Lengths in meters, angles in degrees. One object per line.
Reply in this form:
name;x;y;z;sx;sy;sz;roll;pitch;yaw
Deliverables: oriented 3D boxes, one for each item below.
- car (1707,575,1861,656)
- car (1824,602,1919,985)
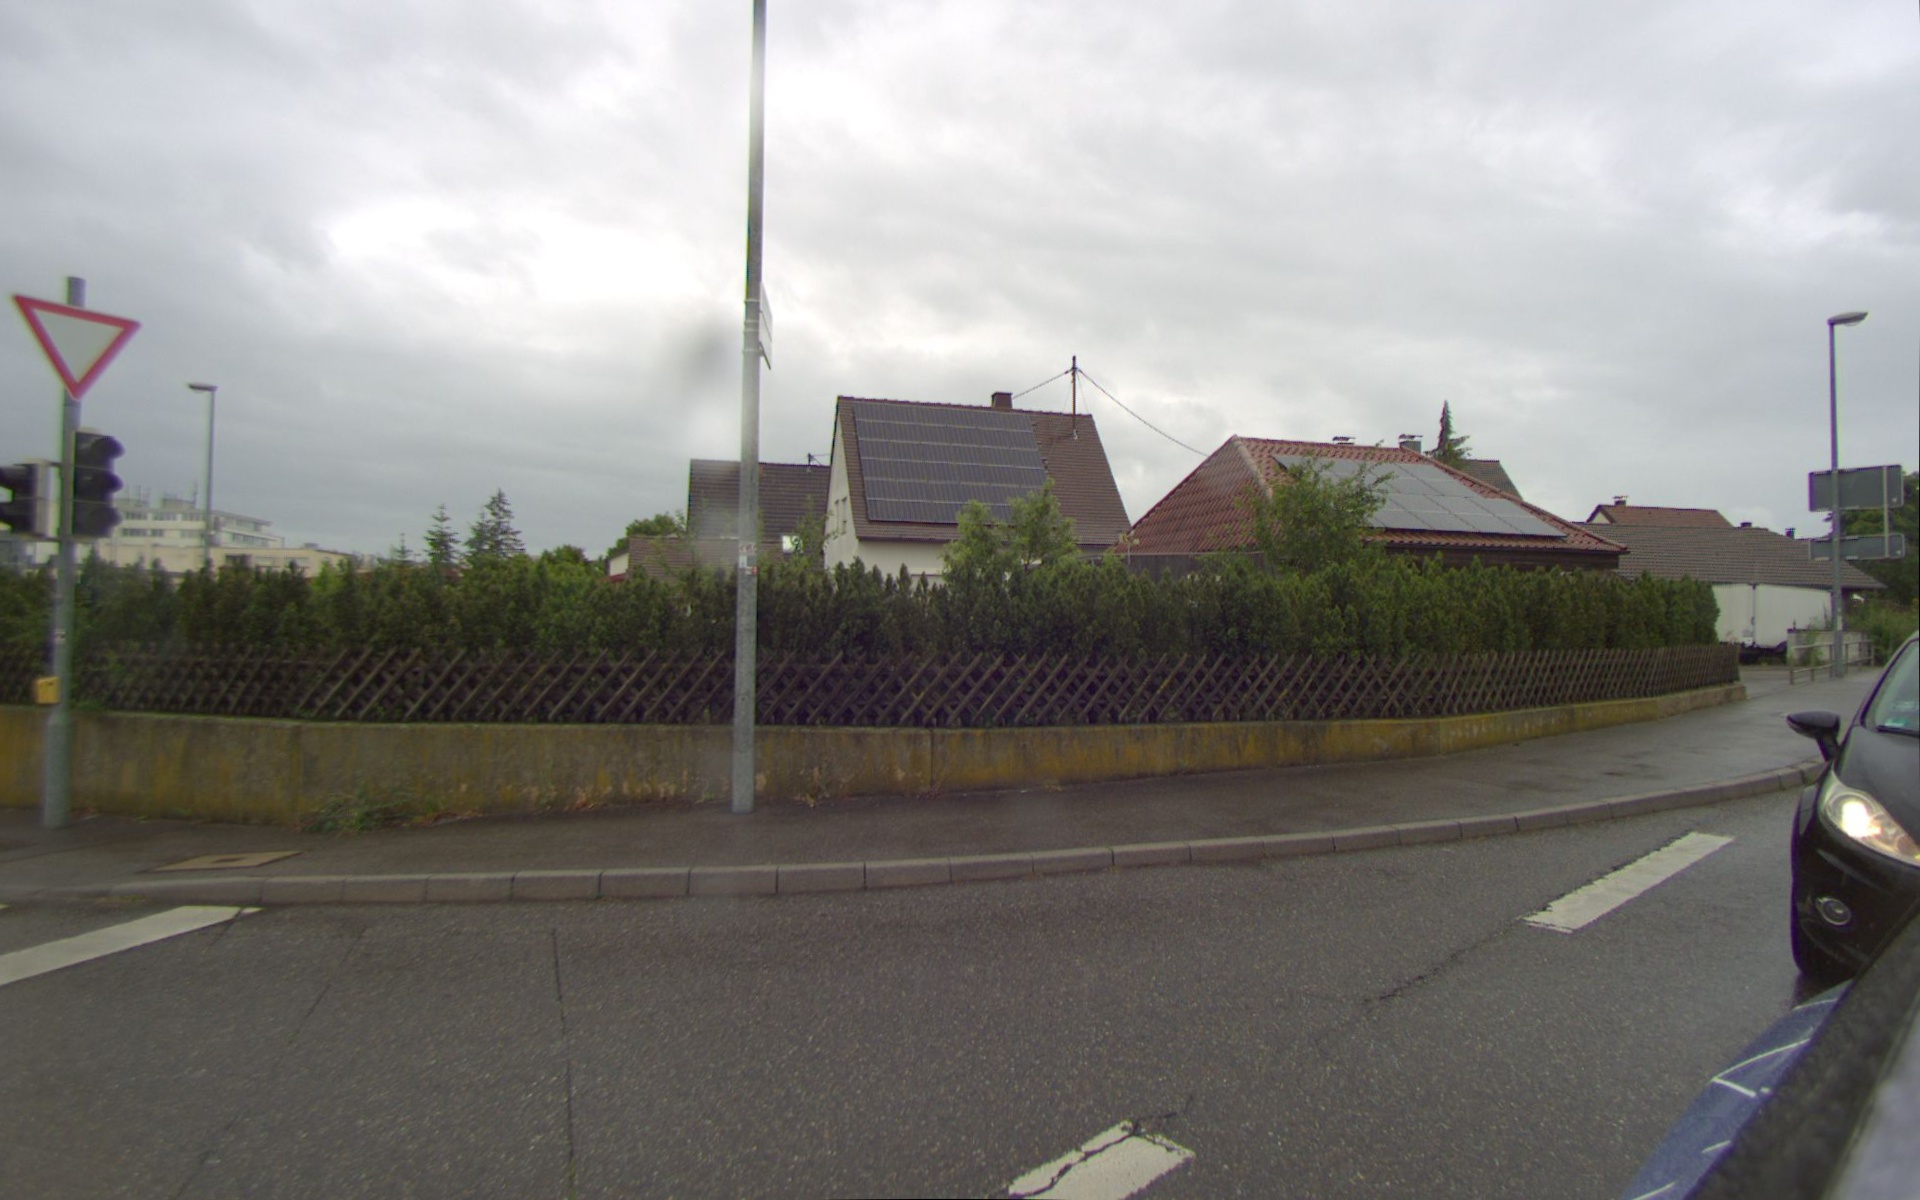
car;25.348;0.450;31.157;3.916;2.380;1.657;0;-1;-14
car;5.493;0.755;4.836;3.867;1.436;1.663;-1;0;-43
